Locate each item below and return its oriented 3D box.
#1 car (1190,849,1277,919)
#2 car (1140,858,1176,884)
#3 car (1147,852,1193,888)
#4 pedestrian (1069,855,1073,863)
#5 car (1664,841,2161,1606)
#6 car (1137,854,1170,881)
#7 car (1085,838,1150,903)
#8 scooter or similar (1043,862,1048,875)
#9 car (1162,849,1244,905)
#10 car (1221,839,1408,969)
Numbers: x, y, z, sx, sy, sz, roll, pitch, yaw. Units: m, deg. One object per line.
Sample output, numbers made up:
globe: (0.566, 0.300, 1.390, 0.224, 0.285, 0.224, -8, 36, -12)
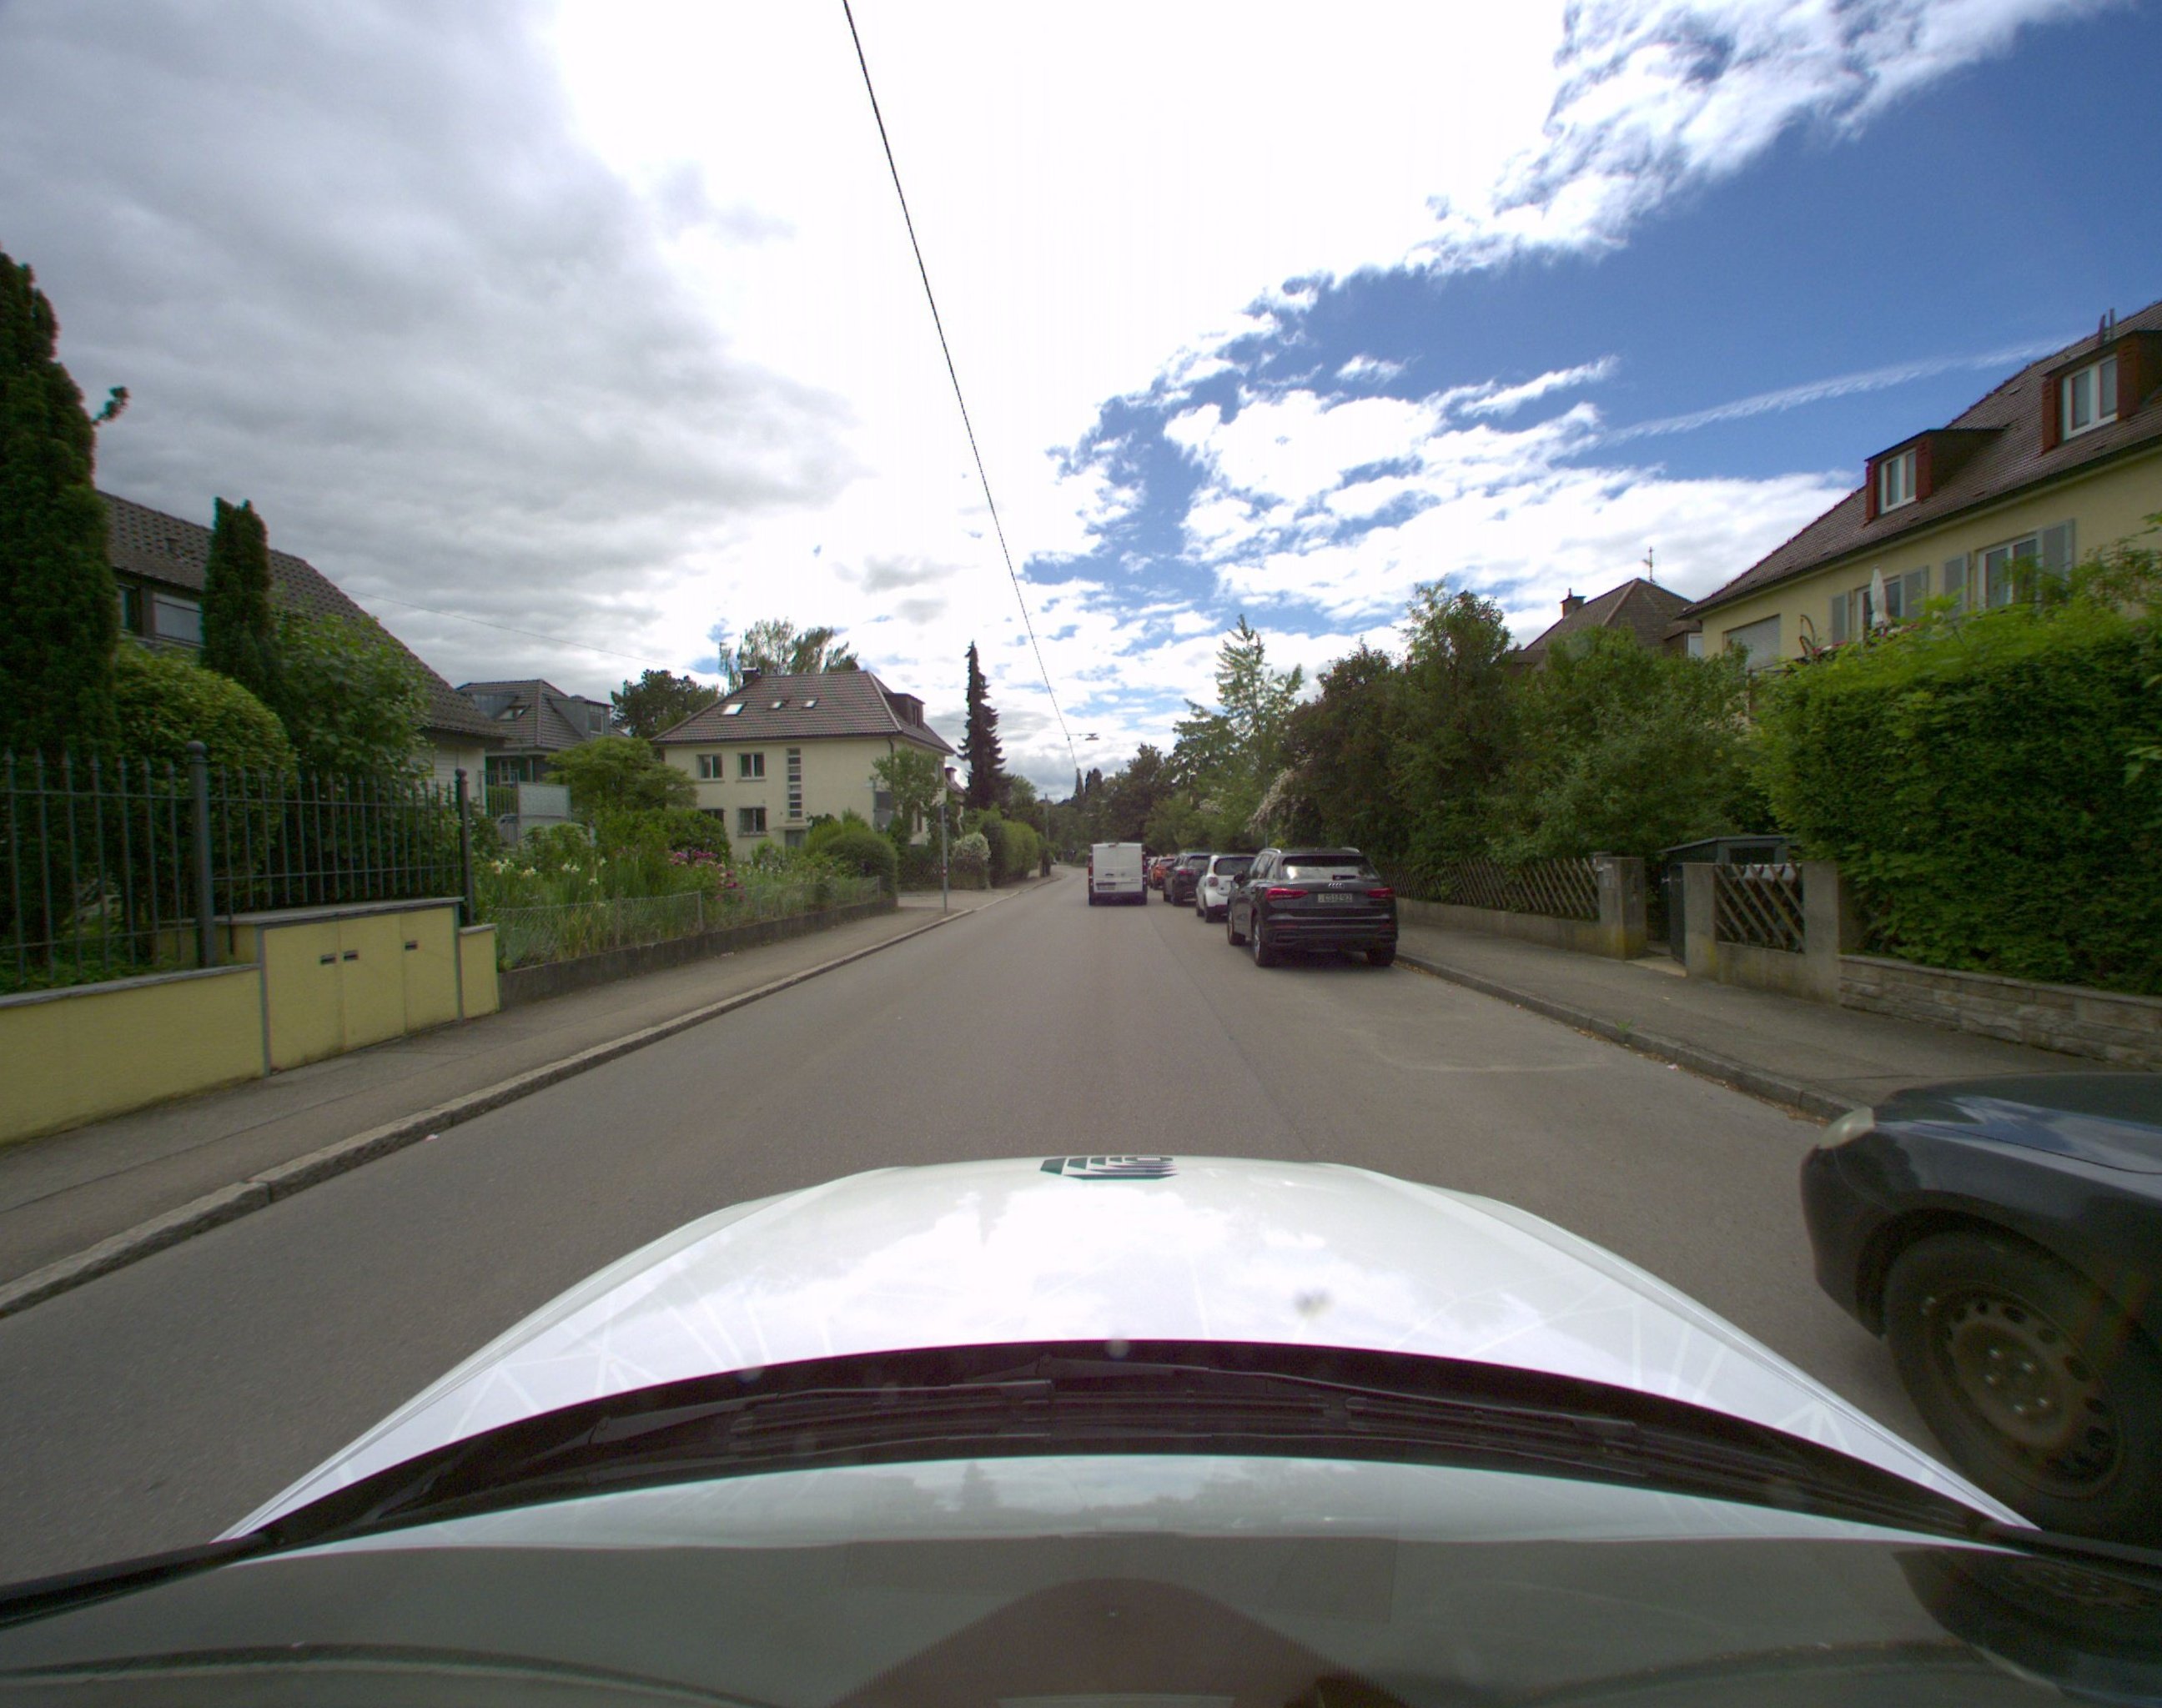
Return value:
car: (3.564, 0.678, 19.439, 1.592, 1.510, 3.015, -1, -1, 2)
car: (4.285, 0.917, 45.853, 1.710, 1.382, 4.237, -1, -1, 2)
car: (4.294, 0.759, 39.726, 1.844, 1.627, 4.169, 0, -1, 1)
pedestrian: (-1.879, 0.935, 151.434, 0.696, 1.616, 0.714, -1, 2, -5)
car: (2.940, 0.708, 0.803, 1.712, 1.460, 4.139, -1, 0, -1)
car: (4.579, 0.853, 51.659, 1.822, 1.623, 4.493, -1, -1, 2)
car: (1.127, 0.482, 27.083, 1.924, 1.964, 4.400, -1, 0, -1)
scooter or similar: (-3.305, 1.305, 74.951, 0.390, 1.171, 1.270, -1, -1, 0)
car: (3.777, 0.684, 25.982, 1.944, 1.627, 4.375, 0, -1, 0)
car: (3.256, 0.631, 12.191, 1.793, 1.592, 4.144, -1, 0, 3)
